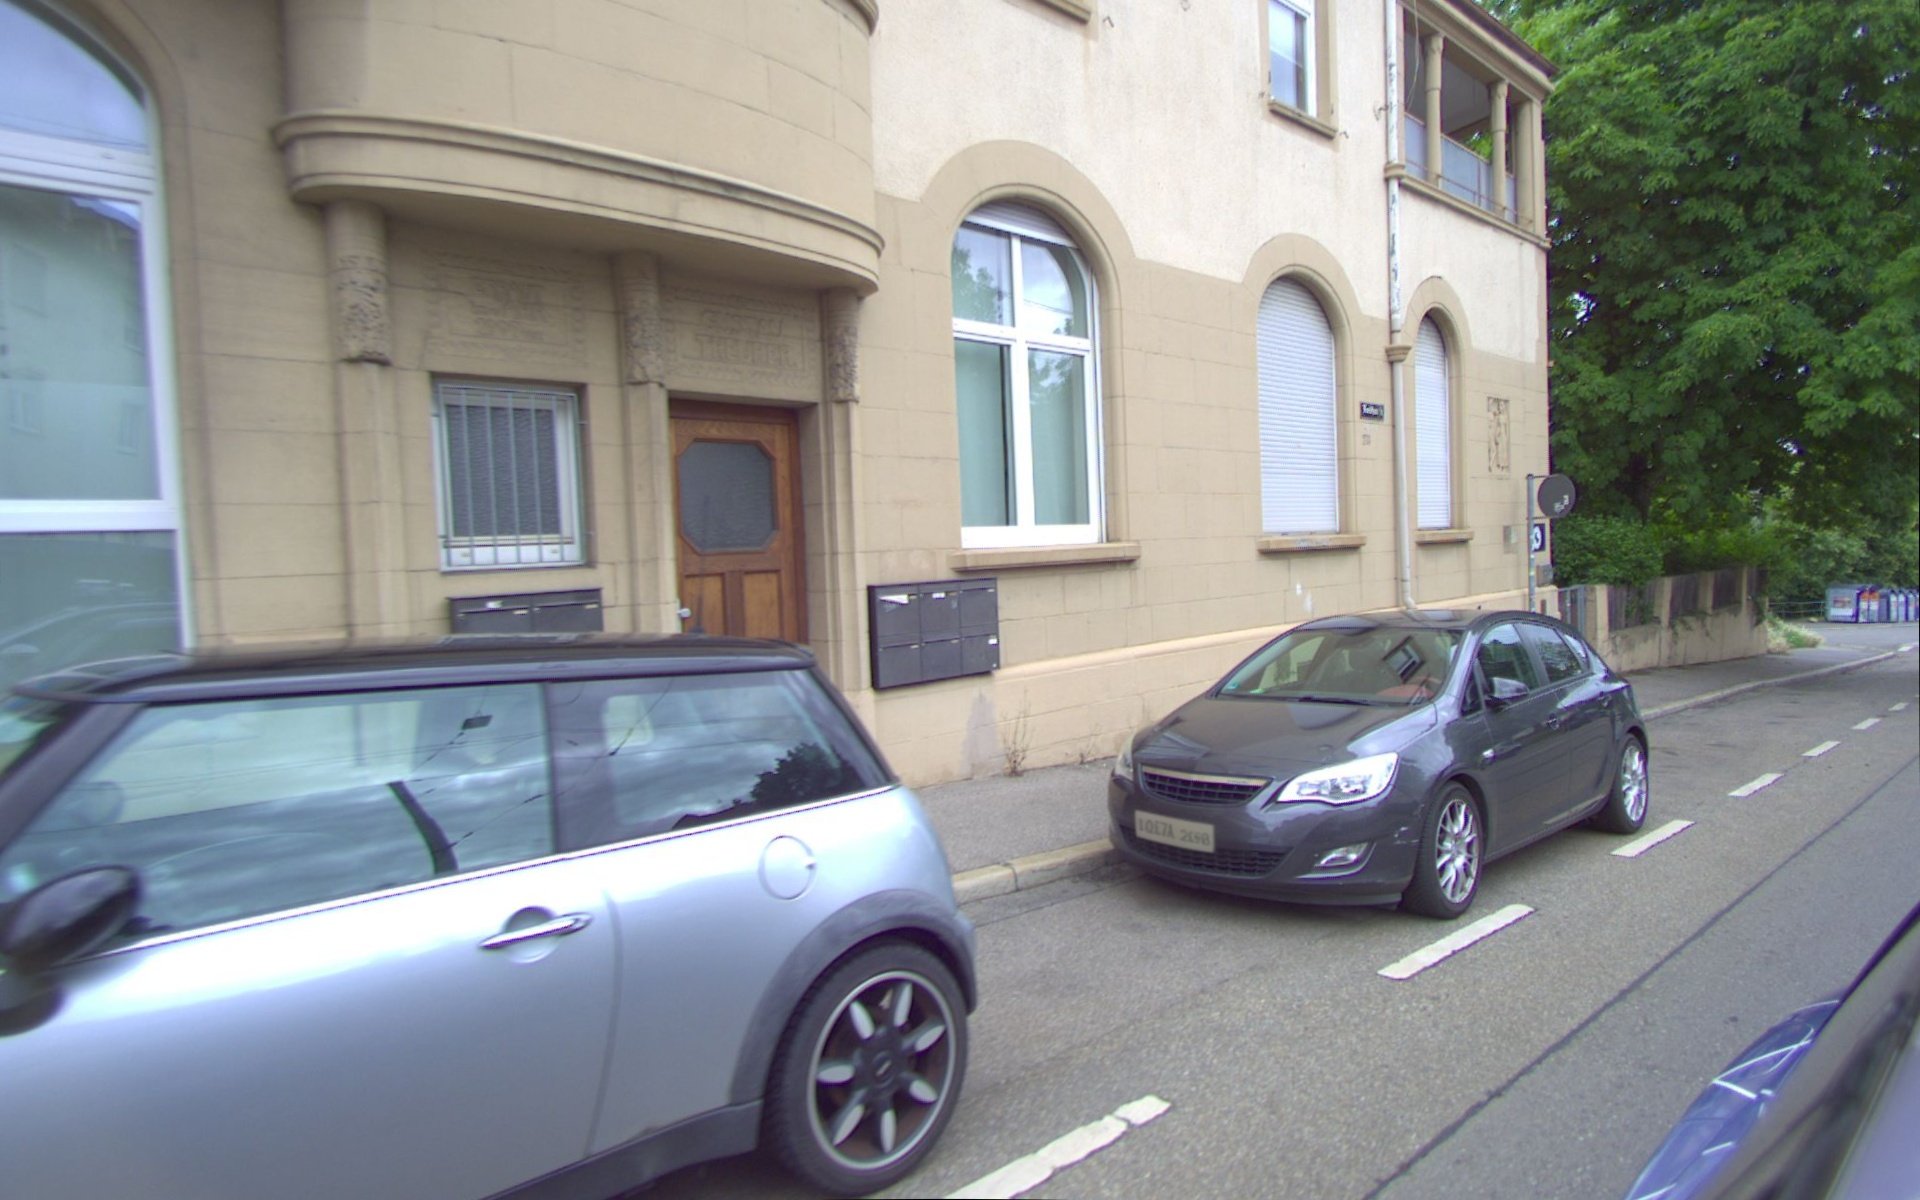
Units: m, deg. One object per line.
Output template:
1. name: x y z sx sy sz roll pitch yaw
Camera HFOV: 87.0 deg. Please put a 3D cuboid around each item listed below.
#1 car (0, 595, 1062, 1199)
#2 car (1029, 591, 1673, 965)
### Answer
1. car: -1.631 0.732 2.440 3.602 1.422 1.698 0 -2 -40
2. car: 2.527 0.711 6.028 4.095 1.421 1.842 -1 -1 -41
